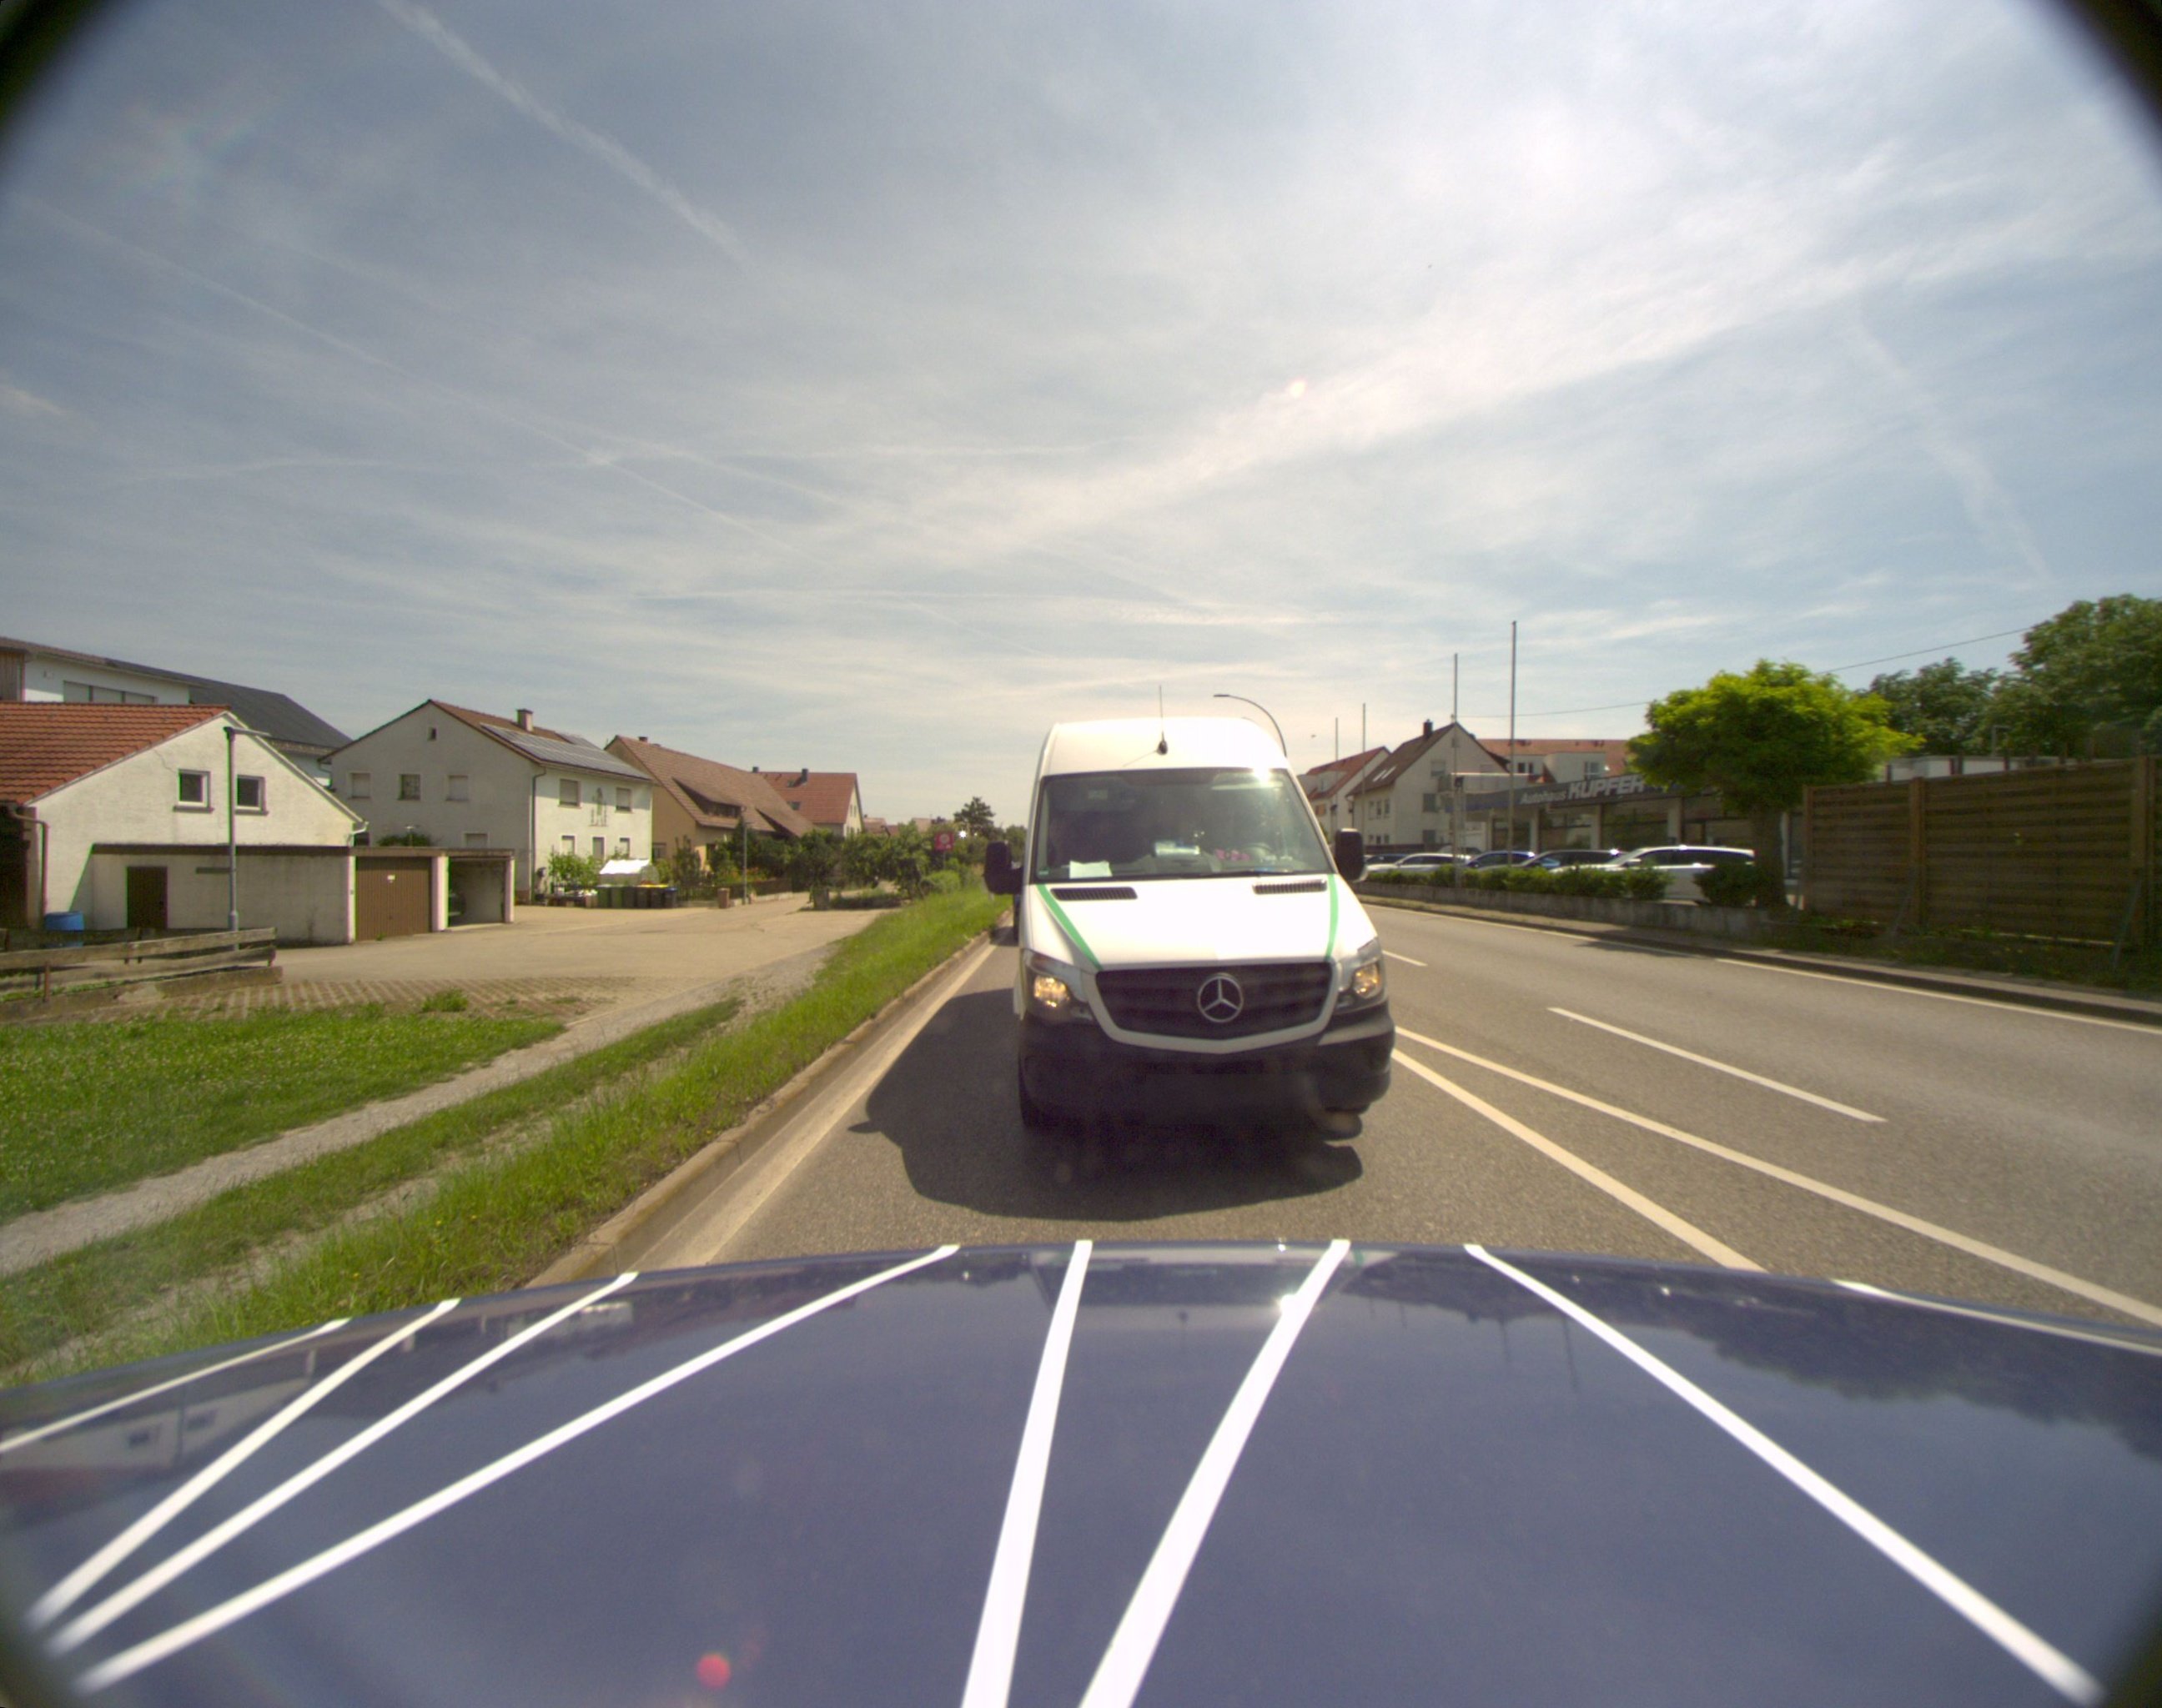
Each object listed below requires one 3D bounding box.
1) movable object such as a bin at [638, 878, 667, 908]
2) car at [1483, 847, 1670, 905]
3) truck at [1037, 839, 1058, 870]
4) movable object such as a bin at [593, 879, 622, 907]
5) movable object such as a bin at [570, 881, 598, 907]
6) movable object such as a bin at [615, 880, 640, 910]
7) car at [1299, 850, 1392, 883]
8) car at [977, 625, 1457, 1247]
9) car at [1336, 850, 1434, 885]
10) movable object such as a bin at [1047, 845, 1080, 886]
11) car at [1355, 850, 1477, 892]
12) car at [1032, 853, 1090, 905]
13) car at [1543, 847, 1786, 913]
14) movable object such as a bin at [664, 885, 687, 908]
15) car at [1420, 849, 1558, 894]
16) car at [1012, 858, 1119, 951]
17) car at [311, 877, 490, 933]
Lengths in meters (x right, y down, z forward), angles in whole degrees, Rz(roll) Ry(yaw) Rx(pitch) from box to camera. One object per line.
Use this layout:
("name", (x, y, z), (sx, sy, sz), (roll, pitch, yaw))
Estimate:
("movable object such as a bin", (-19.951, 1.810, 35.381), (0.765, 1.362, 0.946), (-2, 0, -1))
("car", (14.177, 0.643, 22.068), (4.251, 1.536, 1.853), (-2, 0, 22))
("truck", (-4.354, 0.088, 100.316), (2.506, 3.847, 5.497), (-1, 0, -1))
("movable object such as a bin", (-22.212, 1.820, 35.643), (0.745, 1.239, 0.889), (-2, 0, -1))
("movable object such as a bin", (-23.141, 1.849, 35.382), (0.740, 1.149, 0.830), (-2, 0, -1))
("movable object such as a bin", (-21.291, 1.910, 35.675), (0.678, 1.330, 0.820), (-2, 0, -1))
("car", (13.476, 0.633, 38.701), (4.255, 1.521, 2.003), (-2, 0, 26))
("car", (0.542, 0.356, 6.049), (1.978, 2.583, 5.633), (-2, 0, -1))
("car", (13.839, 0.608, 34.577), (3.990, 1.455, 2.003), (-2, 0, 26))
("movable object such as a bin", (-1.178, 0.754, 53.470), (1.998, 2.710, 5.419), (-1, 0, 1))
("car", (13.415, 0.687, 30.439), (4.303, 1.510, 2.003), (-2, 0, 27))
("car", (-0.661, 0.814, 26.103), (1.824, 1.637, 3.901), (-1, 0, -1))
("car", (13.827, 0.602, 18.356), (4.329, 1.451, 1.858), (-1, 0, 24))
("movable object such as a bin", (-18.943, 1.968, 35.477), (0.645, 1.021, 0.756), (-2, 0, -1))
("car", (13.847, 0.595, 26.043), (3.990, 1.433, 1.857), (-2, 0, 25))
("car", (-0.307, 0.883, 15.088), (1.824, 1.574, 3.901), (-1, 0, -1))
("car", (-21.486, 1.576, 24.098), (3.997, 1.594, 1.826), (-1, 0, 0))
